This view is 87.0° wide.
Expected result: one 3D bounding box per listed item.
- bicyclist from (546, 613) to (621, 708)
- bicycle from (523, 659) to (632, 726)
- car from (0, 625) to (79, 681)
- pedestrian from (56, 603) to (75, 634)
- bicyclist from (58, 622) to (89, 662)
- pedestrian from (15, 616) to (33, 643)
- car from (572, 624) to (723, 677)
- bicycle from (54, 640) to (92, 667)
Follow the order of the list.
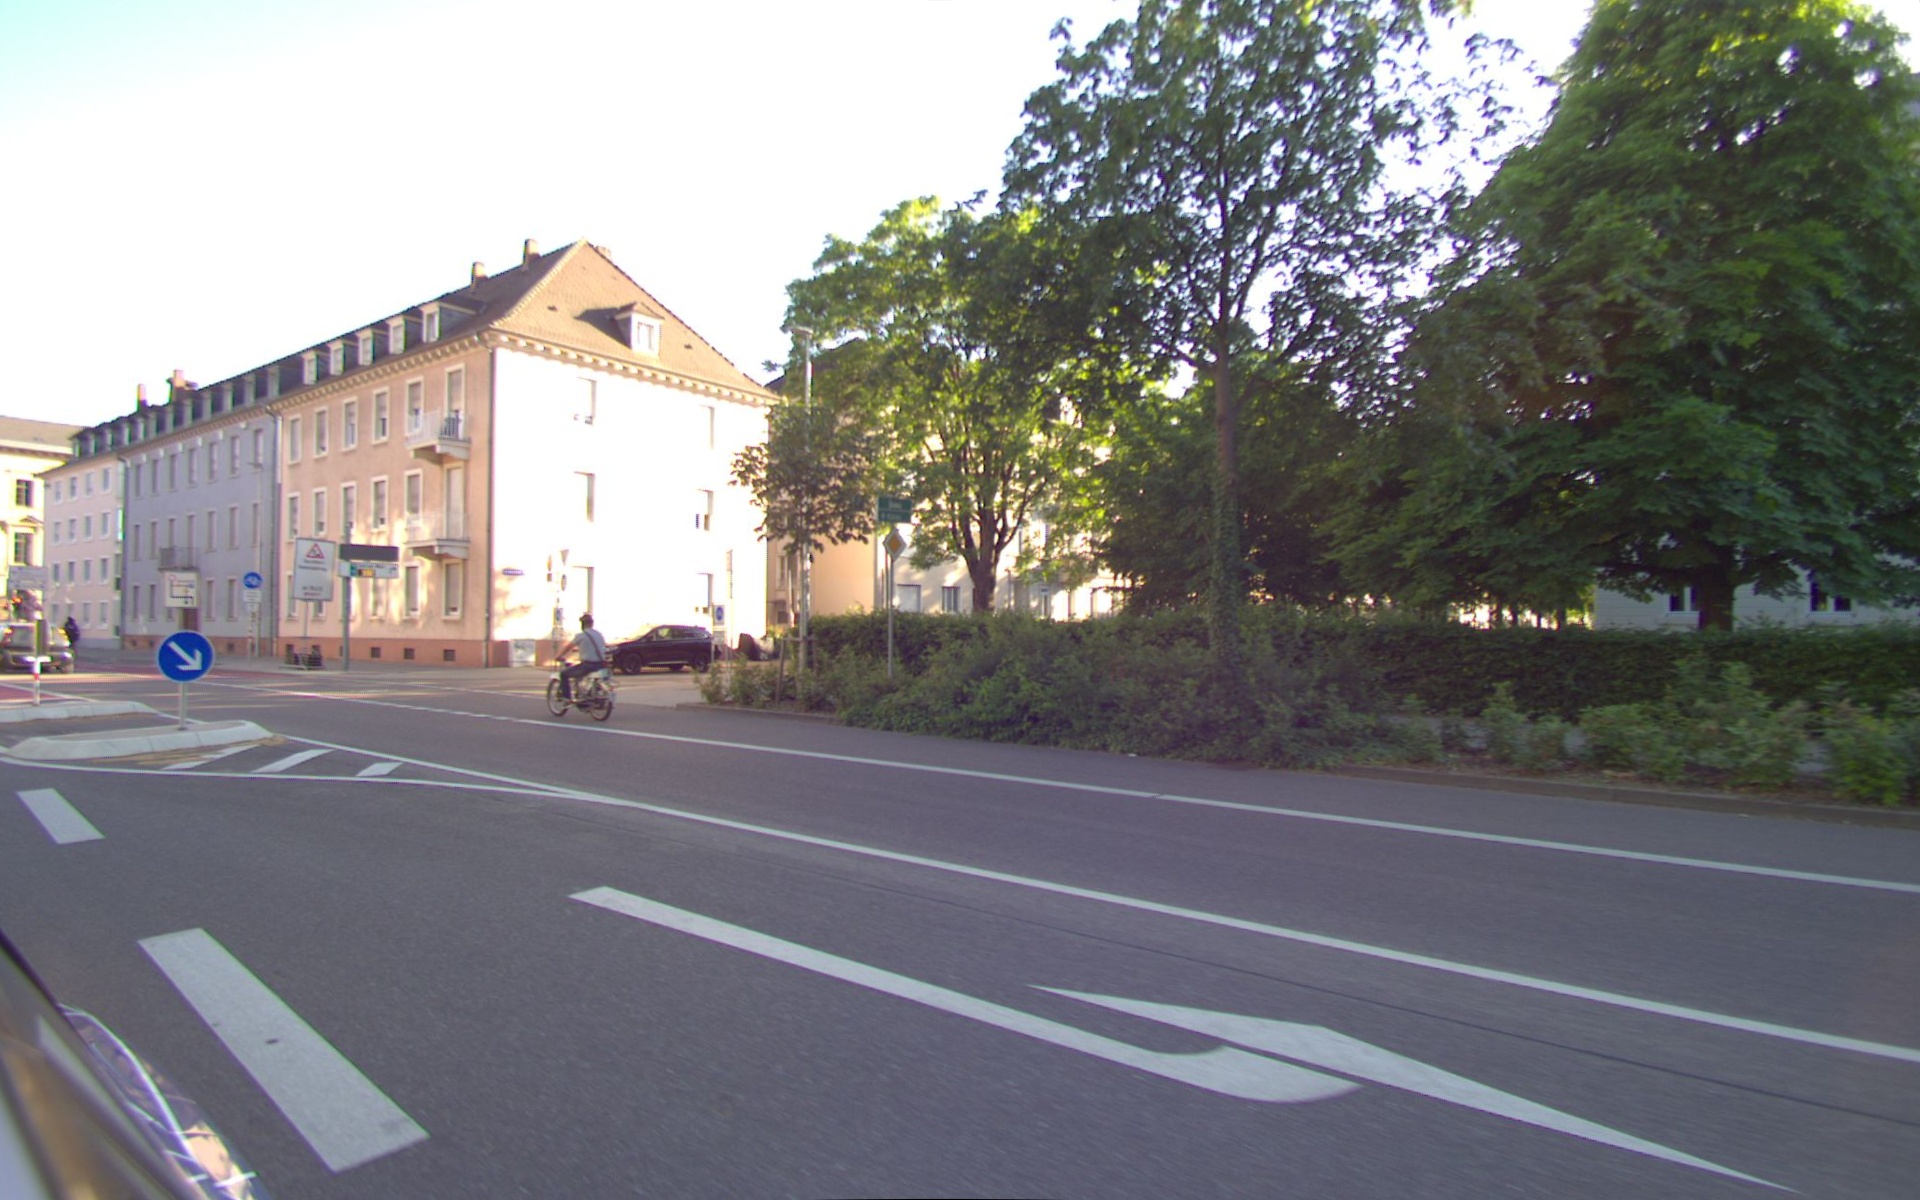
[{"bbox_3d":[-5.853,0.944,15.730,0.970,1.429,0.639,-2,-6,40],"label":"bicyclist"},{"bbox_3d":[-5.989,1.410,15.786,2.178,0.928,0.610,-2,-3,40],"label":"bicycle"},{"bbox_3d":[-26.663,1.474,28.669,3.993,1.470,1.742,-1,-3,37],"label":"car"},{"bbox_3d":[-54.983,1.155,62.235,1.010,1.860,0.626,-1,0,35],"label":"pedestrian"},{"bbox_3d":[-33.575,1.592,38.340,0.664,1.497,0.650,-2,-6,37],"label":"bicyclist"},{"bbox_3d":[-57.245,1.788,61.916,0.816,1.595,0.626,-1,0,34],"label":"pedestrian"},{"bbox_3d":[-10.633,1.728,34.657,2.060,1.691,4.524,-2,-3,43],"label":"car"},{"bbox_3d":[-33.552,2.026,38.272,2.105,1.003,0.645,-2,-4,37],"label":"bicycle"}]
